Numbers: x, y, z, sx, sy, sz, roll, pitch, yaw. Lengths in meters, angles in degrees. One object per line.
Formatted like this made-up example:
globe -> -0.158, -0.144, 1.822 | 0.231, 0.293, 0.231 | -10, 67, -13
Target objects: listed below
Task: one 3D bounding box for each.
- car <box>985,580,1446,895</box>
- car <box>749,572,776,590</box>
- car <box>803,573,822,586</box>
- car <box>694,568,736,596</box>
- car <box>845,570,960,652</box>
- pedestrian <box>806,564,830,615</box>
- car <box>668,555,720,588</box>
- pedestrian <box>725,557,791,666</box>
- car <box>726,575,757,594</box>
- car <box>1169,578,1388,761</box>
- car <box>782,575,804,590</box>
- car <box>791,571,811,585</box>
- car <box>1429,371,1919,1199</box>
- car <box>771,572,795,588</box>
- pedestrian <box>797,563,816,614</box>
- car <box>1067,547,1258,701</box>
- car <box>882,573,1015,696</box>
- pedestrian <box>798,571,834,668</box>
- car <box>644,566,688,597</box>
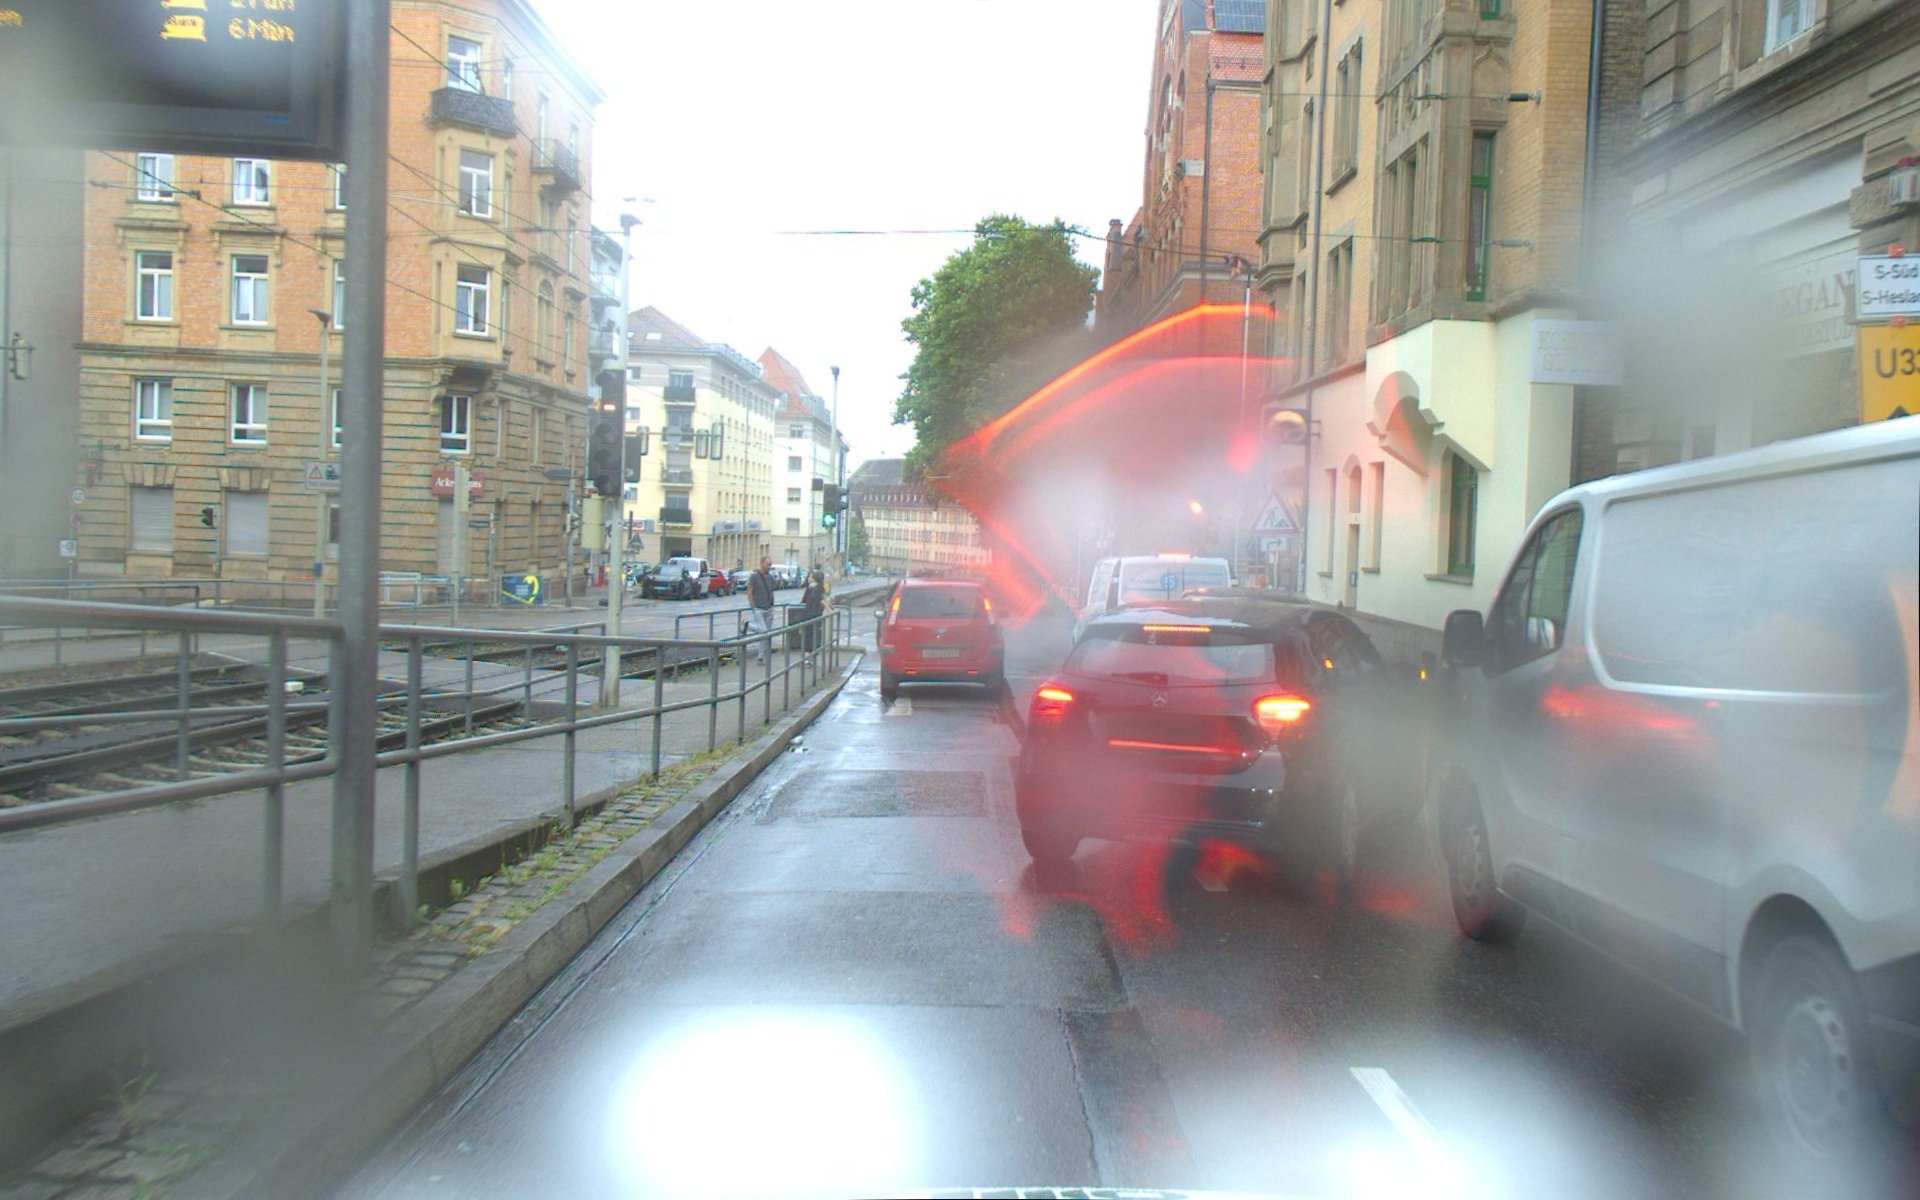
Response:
car -> 1.738, 0.638, 9.901 | 1.856, 1.414, 4.000 | 2, 1, 22
car -> -13.692, -1.341, 114.780 | 1.366, 1.191, 3.162 | 2, 1, 1
car -> -13.753, -1.924, 154.455 | 1.366, 1.191, 3.162 | 2, 1, 1
car -> -13.160, -0.969, 89.119 | 1.646, 1.379, 3.703 | 2, 1, 1
car -> -1.220, 0.190, 33.811 | 1.399, 1.515, 3.143 | 2, 1, -21
pedestrian -> -4.741, -0.349, 55.321 | 0.664, 1.690, 0.676 | 1, 0, 7
car -> -13.228, -1.400, 82.501 | 1.749, 1.556, 4.463 | 2, 1, 1
pedestrian -> -3.325, 0.185, 27.219 | 0.735, 1.754, 0.729 | 2, 0, -43
car -> -13.424, -0.950, 101.548 | 1.407, 1.126, 3.162 | 2, 1, 1
car -> 2.987, 0.575, 16.272 | 1.677, 1.494, 4.284 | 2, 1, 5
car -> -13.385, -1.403, 132.573 | 1.366, 1.191, 3.162 | 2, 1, 1
car -> -13.624, -1.884, 141.891 | 1.366, 1.191, 3.162 | 2, 1, 1
car -> 3.148, 0.478, 5.526 | 1.881, 1.969, 4.686 | 2, 0, 1
car -> -13.491, -1.508, 126.199 | 1.366, 1.191, 3.162 | 2, 1, 1
pedestrian -> -5.230, -0.394, 56.463 | 0.507, 1.694, 0.477 | 3, 1, 3
car -> 2.680, 0.265, 22.883 | 1.894, 1.863, 4.279 | 2, 1, -2
car -> -0.194, 0.413, 22.678 | 1.646, 1.515, 3.612 | 1, 1, -2
pedestrian -> -2.363, 0.314, 27.139 | 0.521, 1.557, 0.436 | 2, 0, -8
car -> -13.469, -0.862, 75.973 | 1.422, 1.341, 3.295 | 3, 1, -1
